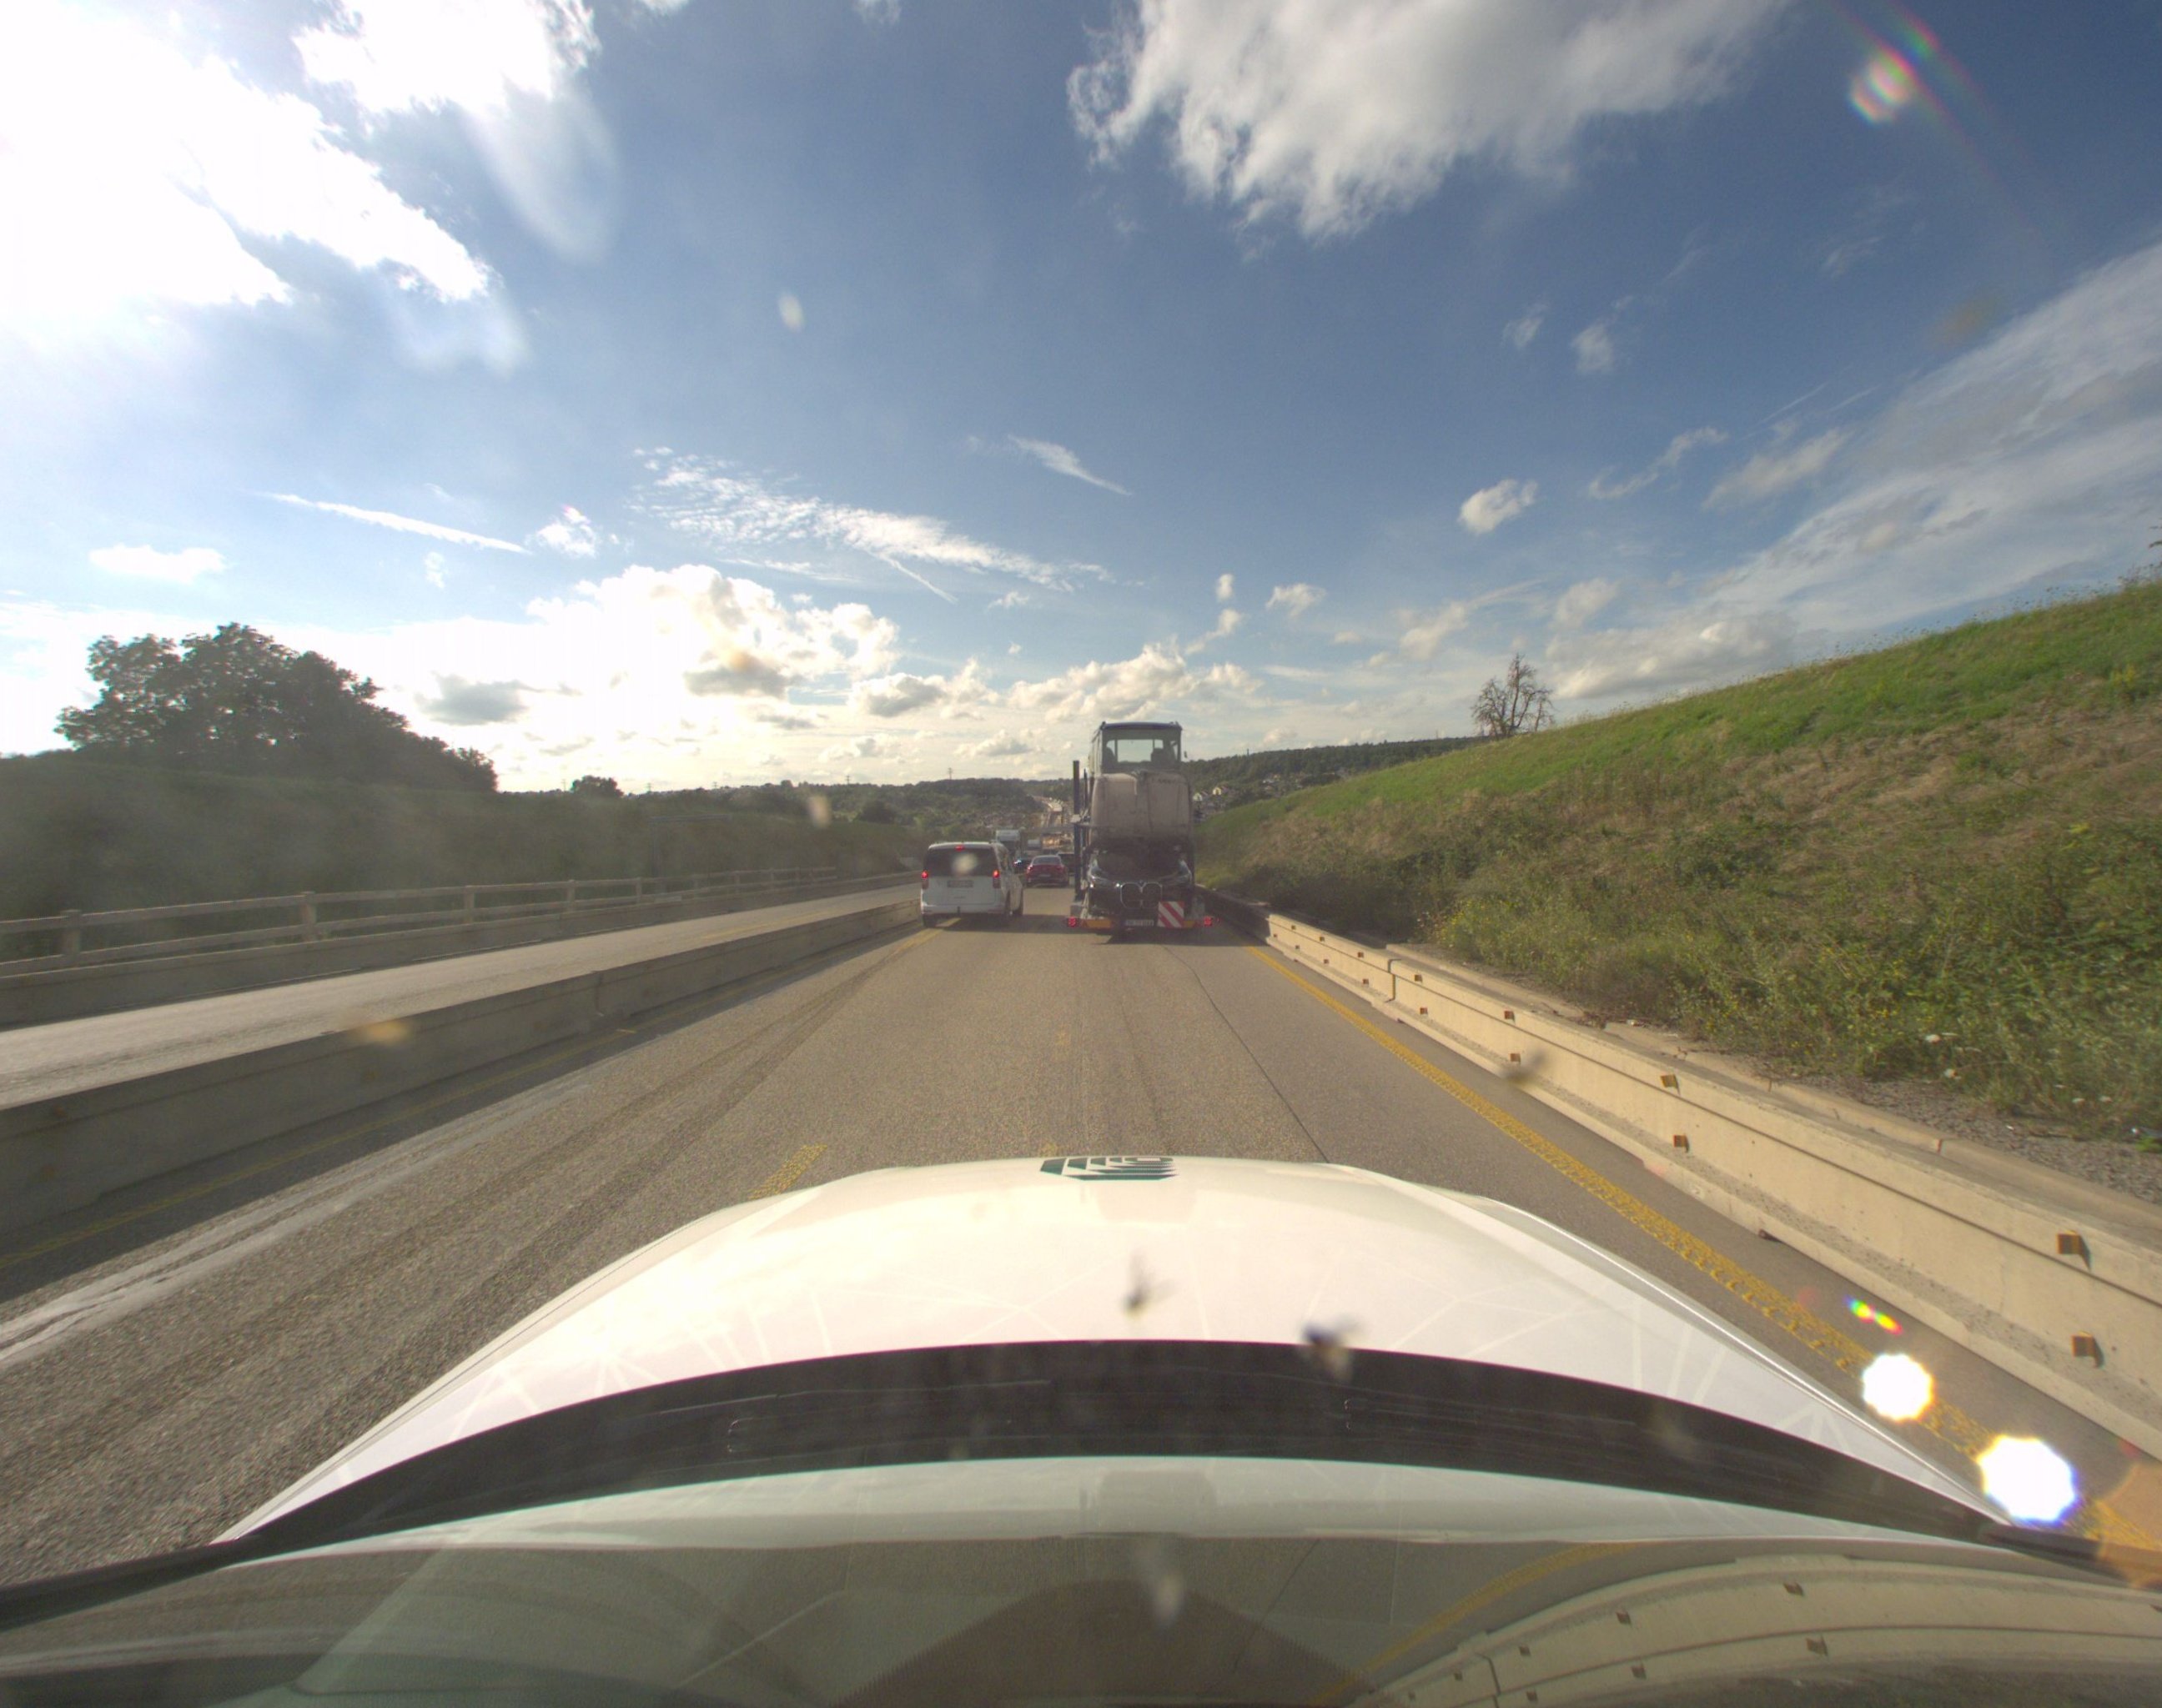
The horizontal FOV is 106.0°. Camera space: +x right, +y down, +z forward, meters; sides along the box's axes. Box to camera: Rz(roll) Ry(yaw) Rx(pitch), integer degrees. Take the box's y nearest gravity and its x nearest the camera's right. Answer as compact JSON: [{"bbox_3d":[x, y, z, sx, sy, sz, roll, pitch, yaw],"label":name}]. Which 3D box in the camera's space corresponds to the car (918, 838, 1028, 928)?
[{"bbox_3d":[-2.338,0.569,18.810,1.816,1.823,4.458,0,0,2],"label":"car"}]

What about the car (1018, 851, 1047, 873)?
[{"bbox_3d":[-4.112,0.668,69.895,1.940,1.746,5.582,-1,1,2],"label":"car"}]

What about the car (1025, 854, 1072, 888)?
[{"bbox_3d":[-1.483,0.766,38.940,1.815,1.492,4.688,0,0,3],"label":"car"}]

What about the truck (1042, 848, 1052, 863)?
[{"bbox_3d":[-9.638,0.322,232.642,2.631,4.099,10.811,-1,0,-1],"label":"truck"}]

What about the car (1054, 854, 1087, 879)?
[{"bbox_3d":[-0.692,0.837,57.491,1.985,1.625,4.753,-1,0,3],"label":"car"}]

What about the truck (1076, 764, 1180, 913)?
[{"bbox_3d":[1.354,-0.412,24.785,2.668,3.922,6.030,-1,0,2],"label":"truck"}]

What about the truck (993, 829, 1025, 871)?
[{"bbox_3d":[-7.329,-0.385,83.741,2.605,4.153,5.782,-1,0,1],"label":"truck"}]

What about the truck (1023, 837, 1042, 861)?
[{"bbox_3d":[-8.428,-0.859,143.554,2.630,4.099,10.816,-1,0,0],"label":"truck"}]

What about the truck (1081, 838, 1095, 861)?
[{"bbox_3d":[1.434,-0.968,168.688,2.854,4.570,11.657,-1,0,0],"label":"truck"}]

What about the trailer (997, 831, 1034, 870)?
[{"bbox_3d":[-7.155,-0.394,90.589,2.605,3.953,13.877,-1,0,1],"label":"trailer"}]

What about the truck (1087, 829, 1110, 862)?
[{"bbox_3d":[2.473,-1.151,119.632,2.855,4.570,11.654,-1,0,-1],"label":"truck"}]

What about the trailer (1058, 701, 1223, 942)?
[{"bbox_3d":[1.178,-0.562,19.511,2.698,4.029,11.424,-1,0,2],"label":"trailer"}]
